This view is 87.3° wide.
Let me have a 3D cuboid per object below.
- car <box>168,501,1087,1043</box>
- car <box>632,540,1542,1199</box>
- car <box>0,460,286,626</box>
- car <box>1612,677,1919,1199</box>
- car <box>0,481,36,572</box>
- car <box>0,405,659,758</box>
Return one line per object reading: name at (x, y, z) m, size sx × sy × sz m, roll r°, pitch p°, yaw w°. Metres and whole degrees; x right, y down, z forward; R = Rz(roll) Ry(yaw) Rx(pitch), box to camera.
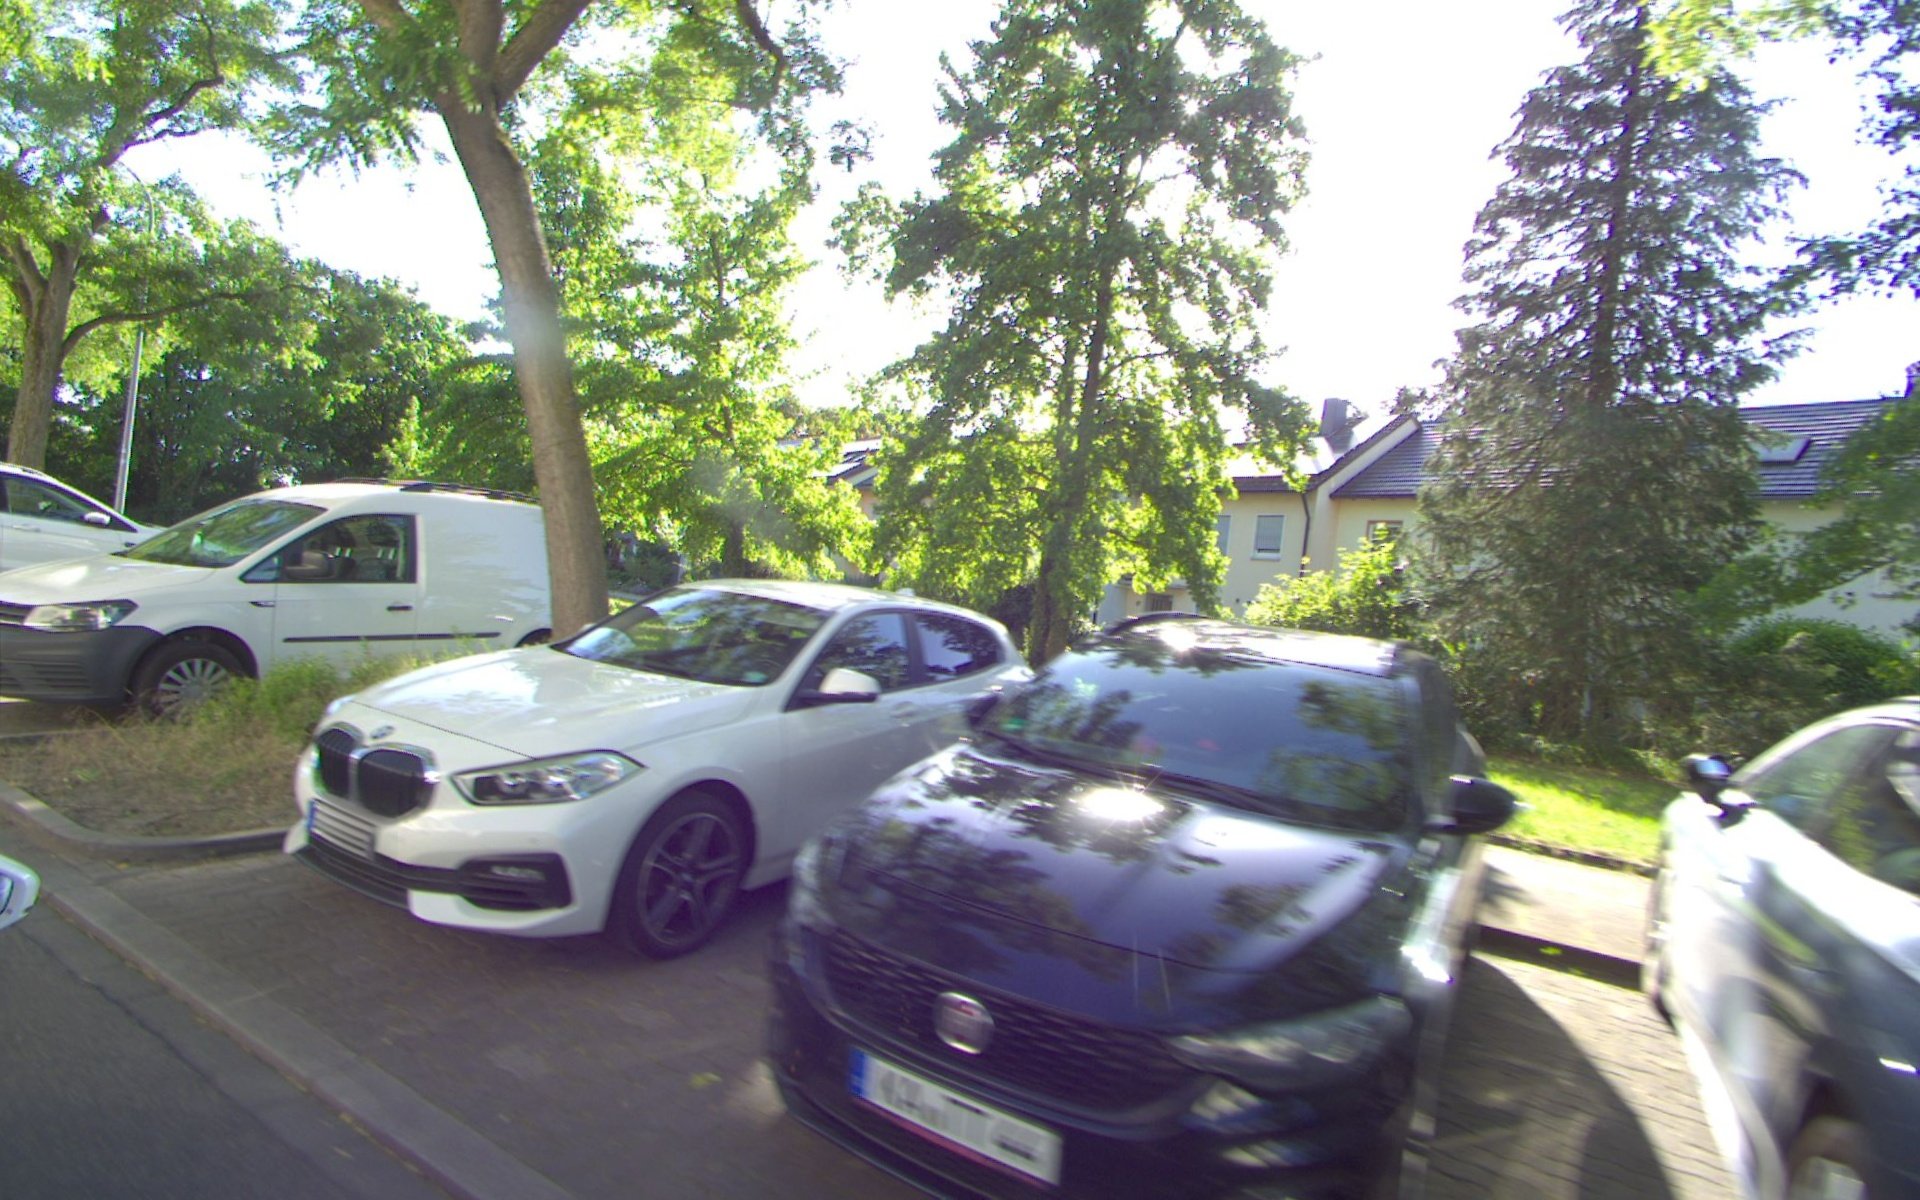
car at (-1.159, 0.564, 5.439) m, size 1.966 × 1.537 × 4.448 m, roll 7°, pitch 1°, yaw 30°
car at (1.129, 0.879, 3.995) m, size 1.709 × 1.591 × 4.431 m, roll 7°, pitch 0°, yaw 33°
car at (-11.254, -0.752, 12.007) m, size 1.967 × 1.745 × 4.886 m, roll 7°, pitch 1°, yaw 33°
car at (3.142, 1.121, 2.634) m, size 1.977 × 1.568 × 4.789 m, roll 7°, pitch 0°, yaw 30°
car at (-19.651, -1.606, 17.458) m, size 1.966 × 1.647 × 4.893 m, roll 7°, pitch -1°, yaw 29°
car at (-5.003, -0.082, 8.193) m, size 1.964 × 1.948 × 4.895 m, roll 7°, pitch 1°, yaw 25°
